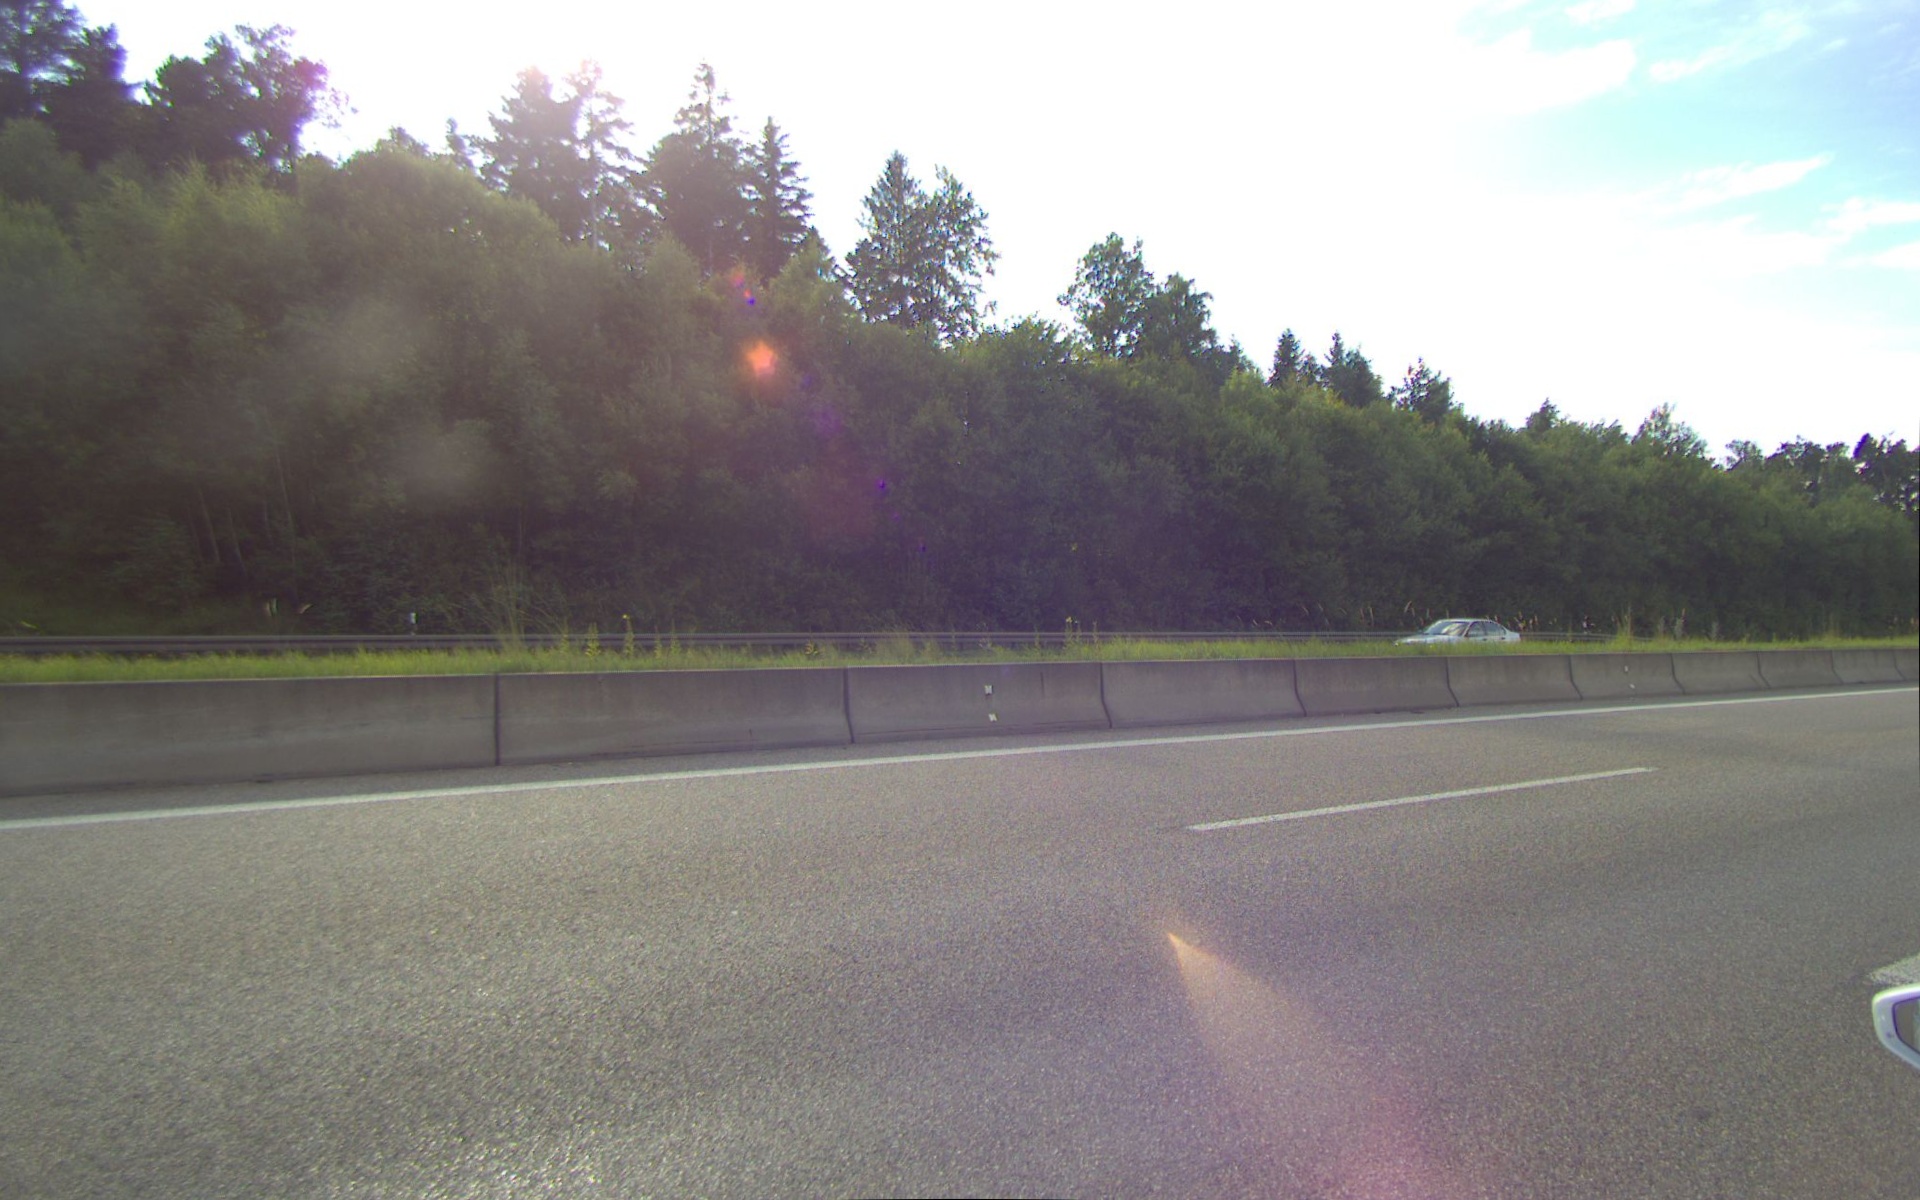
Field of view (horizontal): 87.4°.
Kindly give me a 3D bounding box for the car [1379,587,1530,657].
[{"bbox_3d":[14.623,0.632,29.665,4.378,1.930,1.916,1,0,-31],"label":"car"}]
